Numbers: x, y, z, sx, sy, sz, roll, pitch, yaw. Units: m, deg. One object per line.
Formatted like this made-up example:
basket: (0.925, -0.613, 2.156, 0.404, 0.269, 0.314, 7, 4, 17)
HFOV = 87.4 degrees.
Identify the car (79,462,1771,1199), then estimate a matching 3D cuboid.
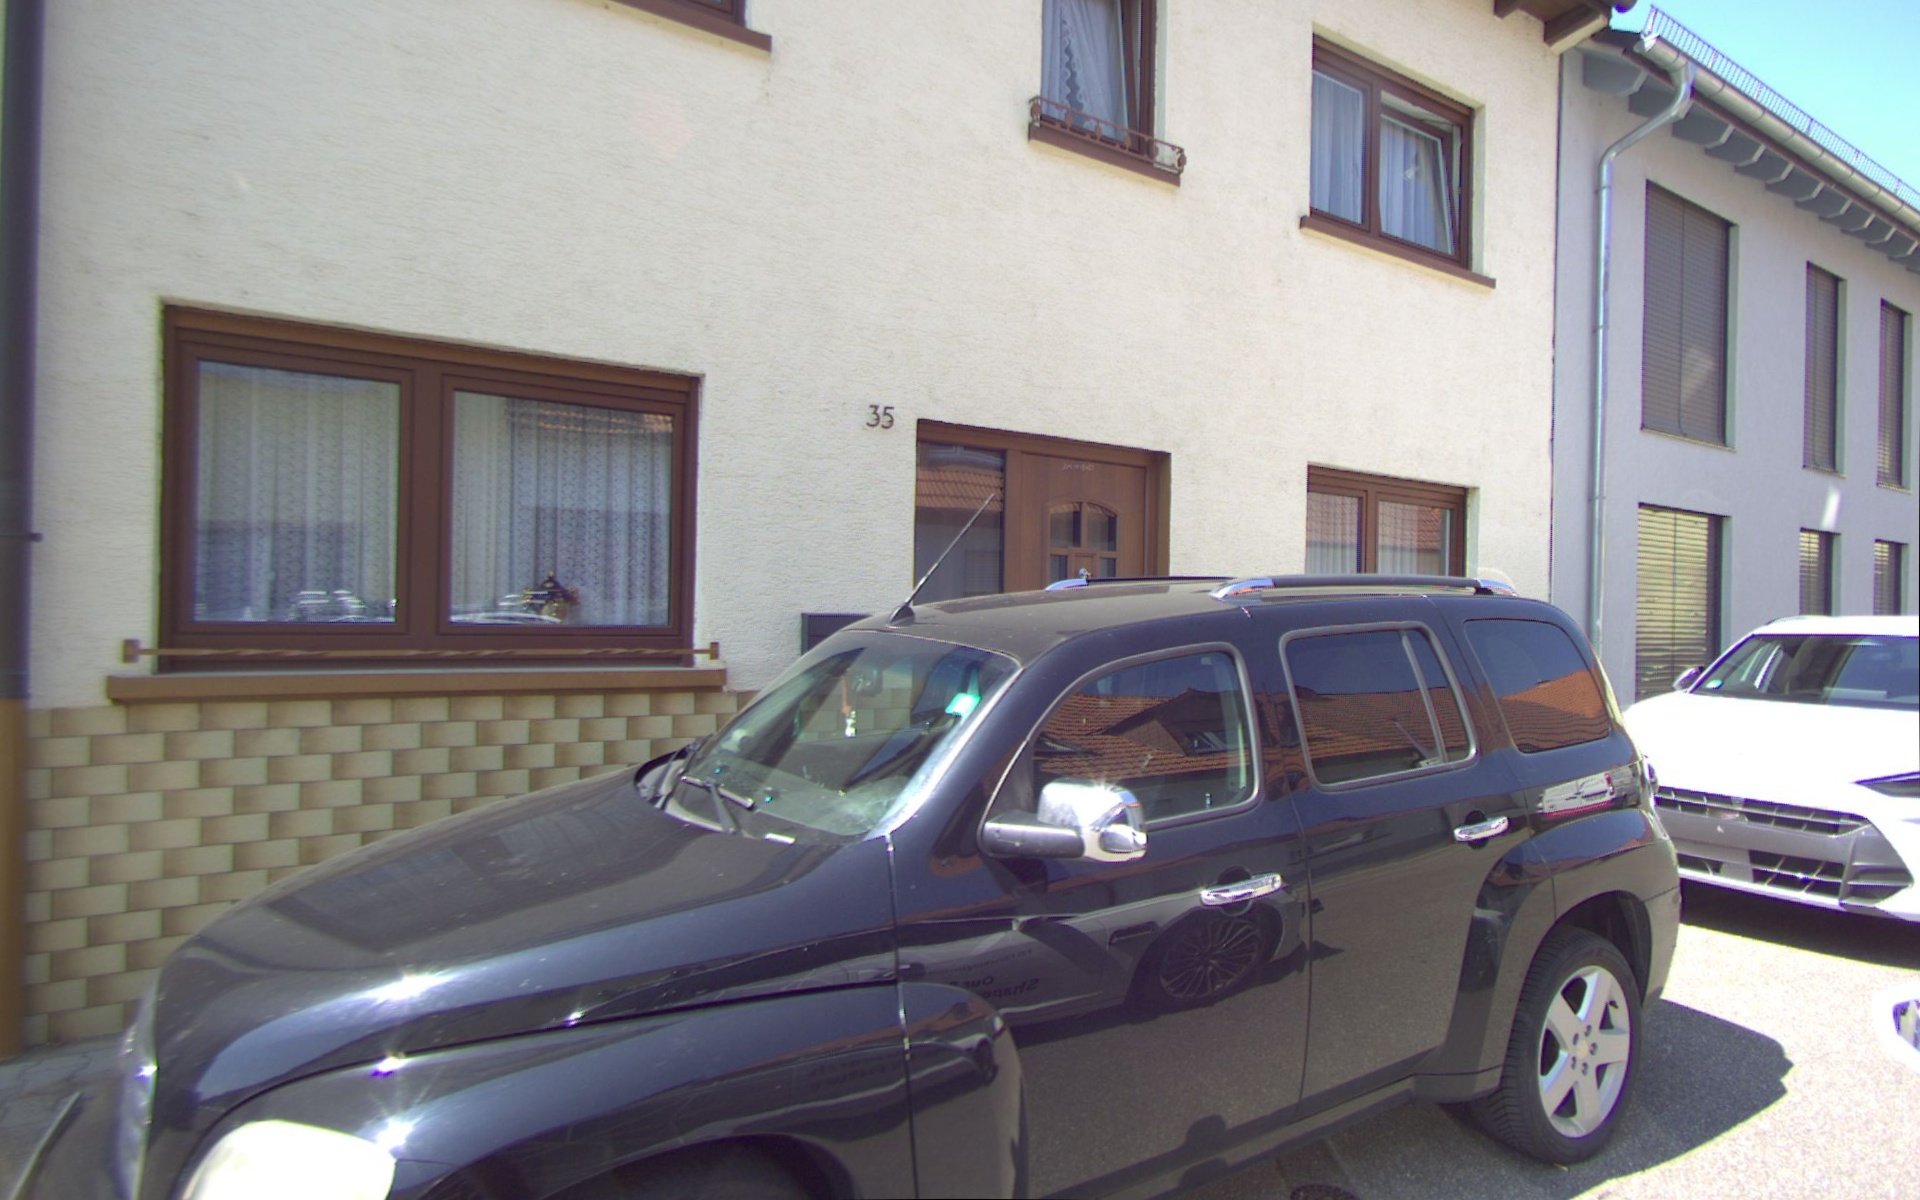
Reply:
car: (0.315, 0.716, 2.873, 3.939, 1.636, 1.716, 1, -2, -28)

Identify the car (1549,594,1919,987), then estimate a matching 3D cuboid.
car: (5.459, 0.857, 5.917, 4.303, 1.636, 1.763, 2, -2, -34)
